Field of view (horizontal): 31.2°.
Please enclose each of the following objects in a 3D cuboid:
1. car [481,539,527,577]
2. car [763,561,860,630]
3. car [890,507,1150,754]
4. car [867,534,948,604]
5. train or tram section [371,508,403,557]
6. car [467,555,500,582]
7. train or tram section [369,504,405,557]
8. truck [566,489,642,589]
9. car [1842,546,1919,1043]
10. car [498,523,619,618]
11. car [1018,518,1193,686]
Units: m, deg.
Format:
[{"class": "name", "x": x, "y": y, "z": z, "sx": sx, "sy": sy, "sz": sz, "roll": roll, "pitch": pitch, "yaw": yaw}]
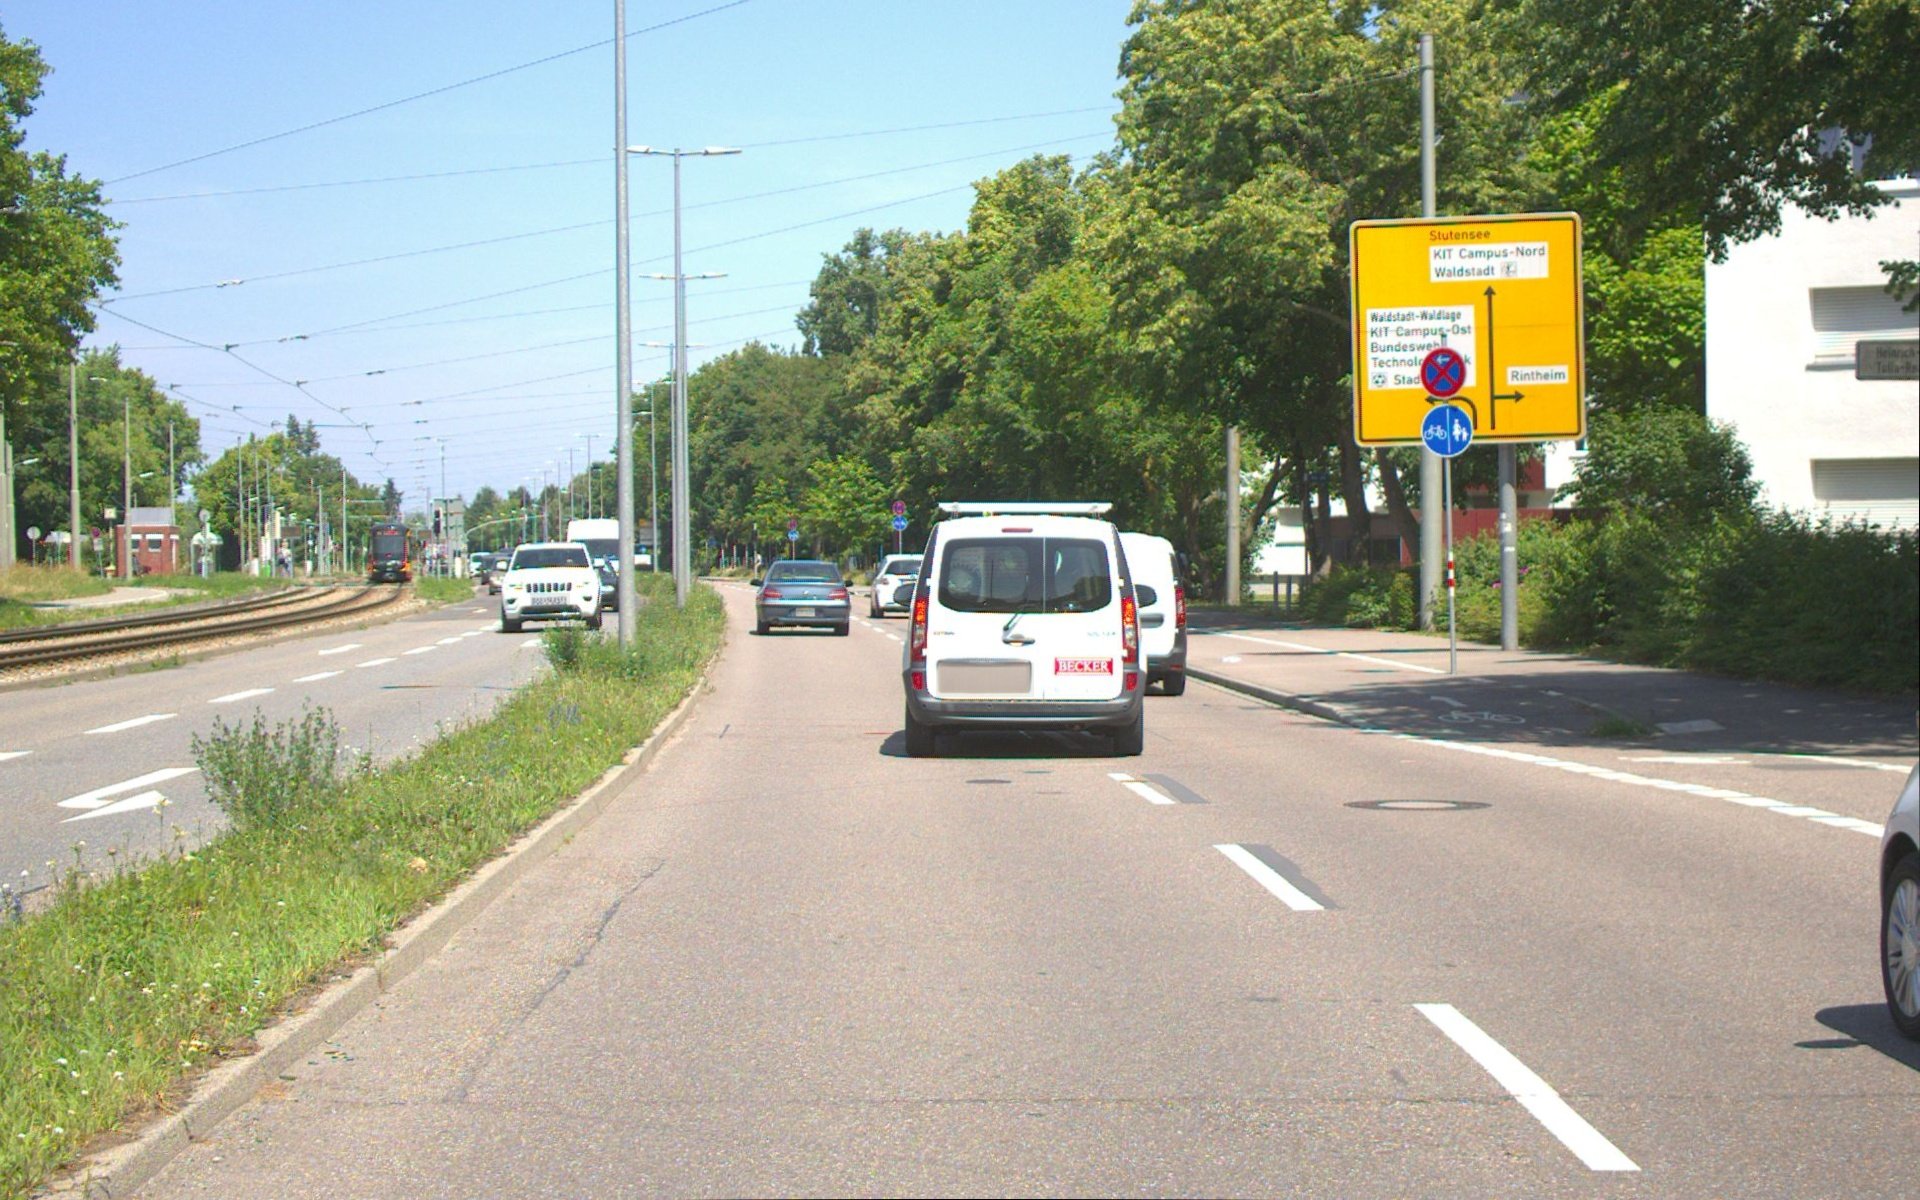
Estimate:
[{"class": "car", "x": -19.438, "y": -1.793, "z": 146.725, "sx": 1.746, "sy": 1.561, "sz": 4.001, "roll": 1, "pitch": 1, "yaw": -5}, {"class": "car", "x": -2.747, "y": -0.104, "z": 64.057, "sx": 1.692, "sy": 1.211, "sz": 3.590, "roll": 1, "pitch": 1, "yaw": -1}, {"class": "car", "x": 0.426, "y": 0.168, "z": 26.636, "sx": 1.821, "sy": 1.733, "sz": 4.396, "roll": 1, "pitch": 1, "yaw": 0}, {"class": "car", "x": -1.230, "y": -0.761, "z": 82.210, "sx": 1.835, "sy": 1.563, "sz": 4.000, "roll": 1, "pitch": 2, "yaw": 0}, {"class": "train or tram section", "x": -37.884, "y": -4.437, "z": 227.361, "sx": 1.993, "sy": 3.076, "sz": 19.505, "roll": 1, "pitch": 1, "yaw": -9}, {"class": "car", "x": -28.534, "y": -1.916, "z": 206.111, "sx": 1.746, "sy": 1.561, "sz": 4.001, "roll": 1, "pitch": 1, "yaw": -5}, {"class": "train or tram section", "x": -34.959, "y": -4.191, "z": 209.766, "sx": 1.993, "sy": 3.076, "sz": 16.172, "roll": 1, "pitch": 1, "yaw": -9}, {"class": "truck", "x": -11.711, "y": -2.016, "z": 113.400, "sx": 1.993, "sy": 3.202, "sz": 5.312, "roll": 0, "pitch": 1, "yaw": -1}, {"class": "car", "x": 3.679, "y": 0.617, "z": 9.099, "sx": 1.609, "sy": 1.442, "sz": 3.436, "roll": 1, "pitch": 2, "yaw": -3}, {"class": "car", "x": -7.929, "y": -0.616, "z": 68.186, "sx": 1.993, "sy": 1.809, "sz": 4.000, "roll": 0, "pitch": 1, "yaw": -1}, {"class": "car", "x": 1.611, "y": -0.007, "z": 39.199, "sx": 1.727, "sy": 1.782, "sz": 4.065, "roll": 1, "pitch": 1, "yaw": -1}]
